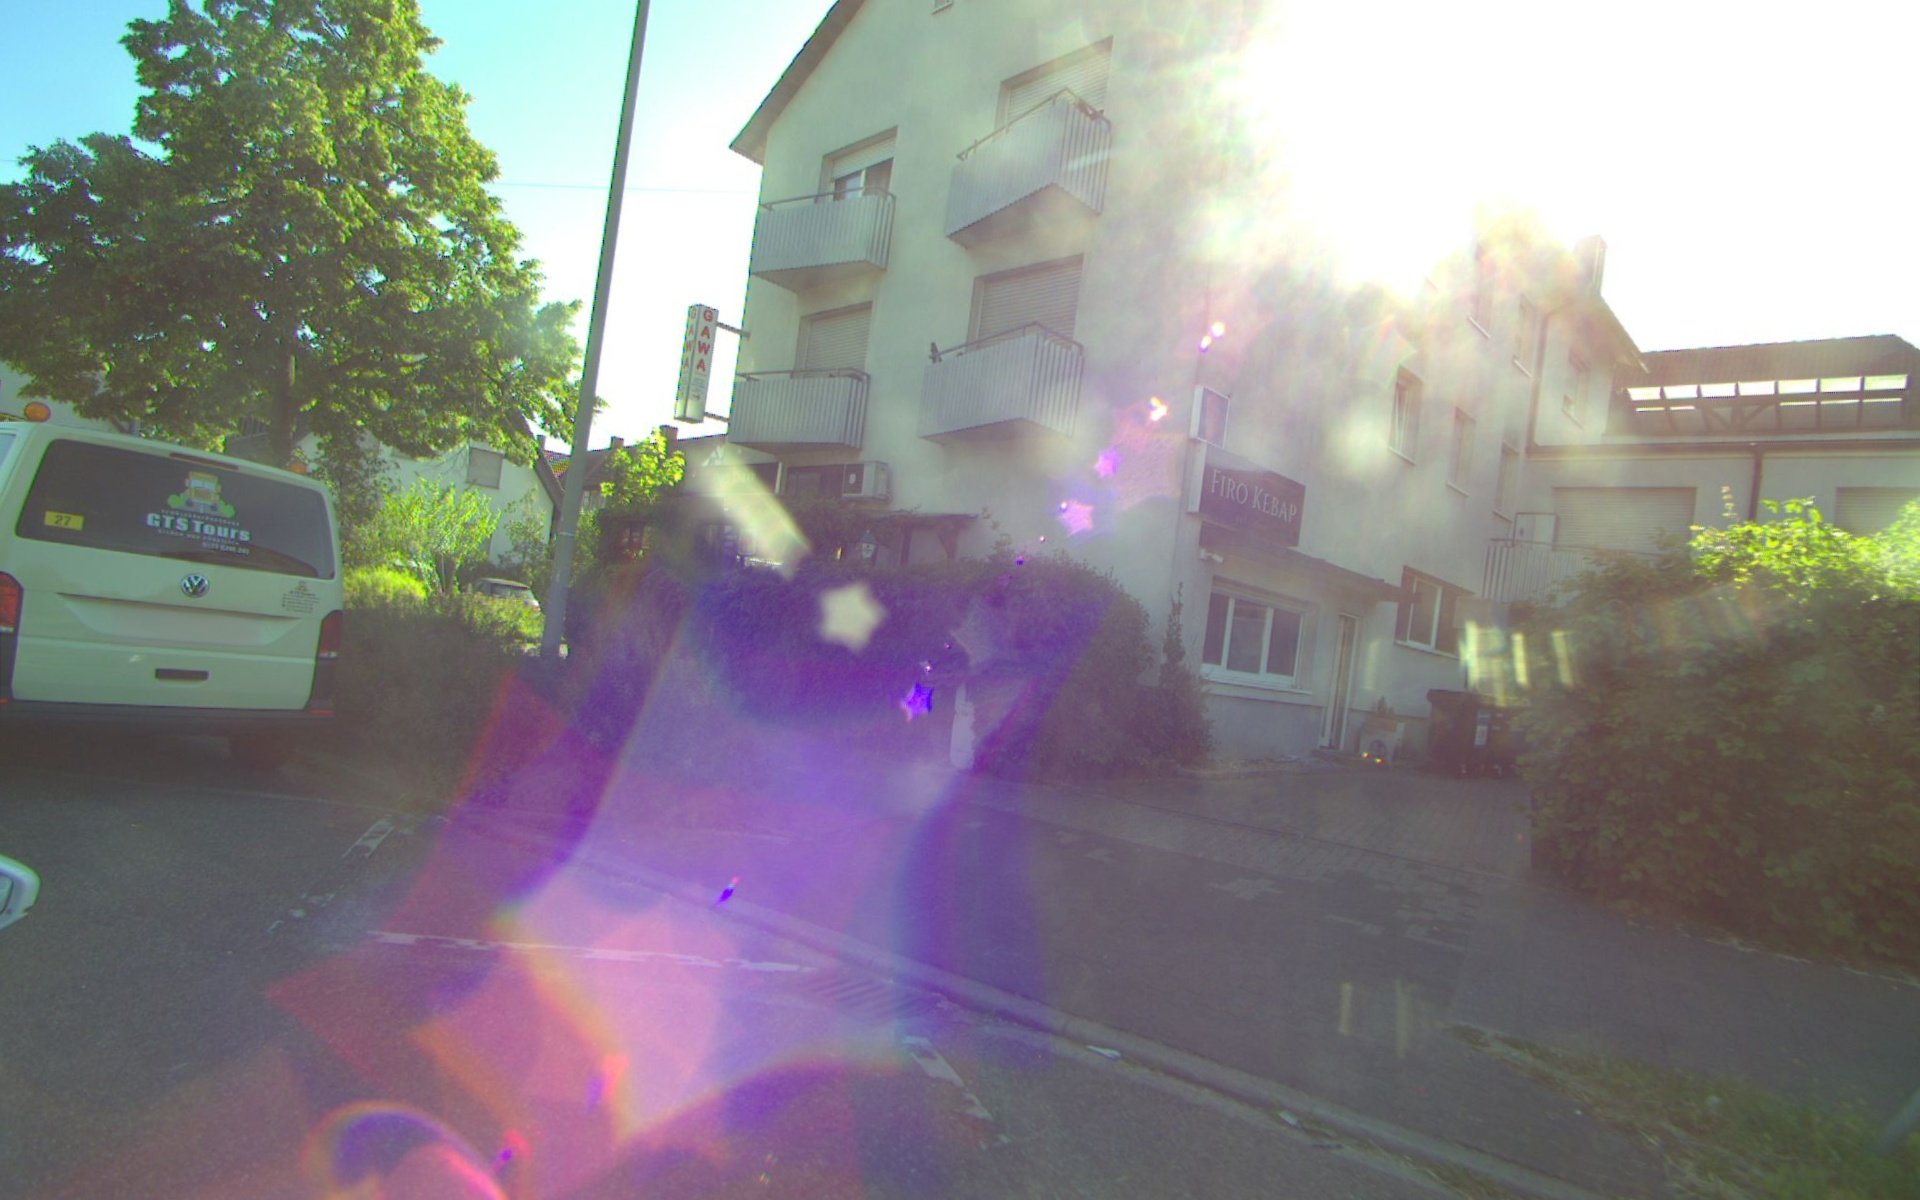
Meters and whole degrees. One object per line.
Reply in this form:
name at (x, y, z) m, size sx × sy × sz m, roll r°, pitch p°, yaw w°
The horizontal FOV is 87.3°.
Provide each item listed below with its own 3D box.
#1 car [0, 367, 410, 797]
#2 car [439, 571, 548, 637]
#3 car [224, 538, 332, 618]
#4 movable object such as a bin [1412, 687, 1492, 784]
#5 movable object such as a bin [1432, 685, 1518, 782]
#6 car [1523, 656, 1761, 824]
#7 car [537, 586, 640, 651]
car at (-6.097, -0.143, 6.965) m, size 4.506 × 2.102 × 1.997 m, roll 6°, pitch -3°, yaw 35°
car at (-13.918, 0.096, 29.911) m, size 1.642 × 1.364 × 4.063 m, roll 12°, pitch -3°, yaw -43°
car at (-17.761, -0.614, 26.126) m, size 1.703 × 1.534 × 4.353 m, roll 11°, pitch -2°, yaw -40°
movable object such as a bin at (7.609, 2.096, 15.563) m, size 0.773 × 1.358 × 0.798 m, roll 7°, pitch -2°, yaw 44°
movable object such as a bin at (8.275, 2.145, 16.166) m, size 0.831 × 1.394 × 0.870 m, roll 9°, pitch -2°, yaw -44°
car at (10.189, 2.049, 14.924) m, size 3.970 × 1.983 × 1.748 m, roll 7°, pitch 0°, yaw -40°
car at (-11.772, 0.561, 31.747) m, size 1.593 × 1.491 × 3.762 m, roll 9°, pitch -1°, yaw -43°
